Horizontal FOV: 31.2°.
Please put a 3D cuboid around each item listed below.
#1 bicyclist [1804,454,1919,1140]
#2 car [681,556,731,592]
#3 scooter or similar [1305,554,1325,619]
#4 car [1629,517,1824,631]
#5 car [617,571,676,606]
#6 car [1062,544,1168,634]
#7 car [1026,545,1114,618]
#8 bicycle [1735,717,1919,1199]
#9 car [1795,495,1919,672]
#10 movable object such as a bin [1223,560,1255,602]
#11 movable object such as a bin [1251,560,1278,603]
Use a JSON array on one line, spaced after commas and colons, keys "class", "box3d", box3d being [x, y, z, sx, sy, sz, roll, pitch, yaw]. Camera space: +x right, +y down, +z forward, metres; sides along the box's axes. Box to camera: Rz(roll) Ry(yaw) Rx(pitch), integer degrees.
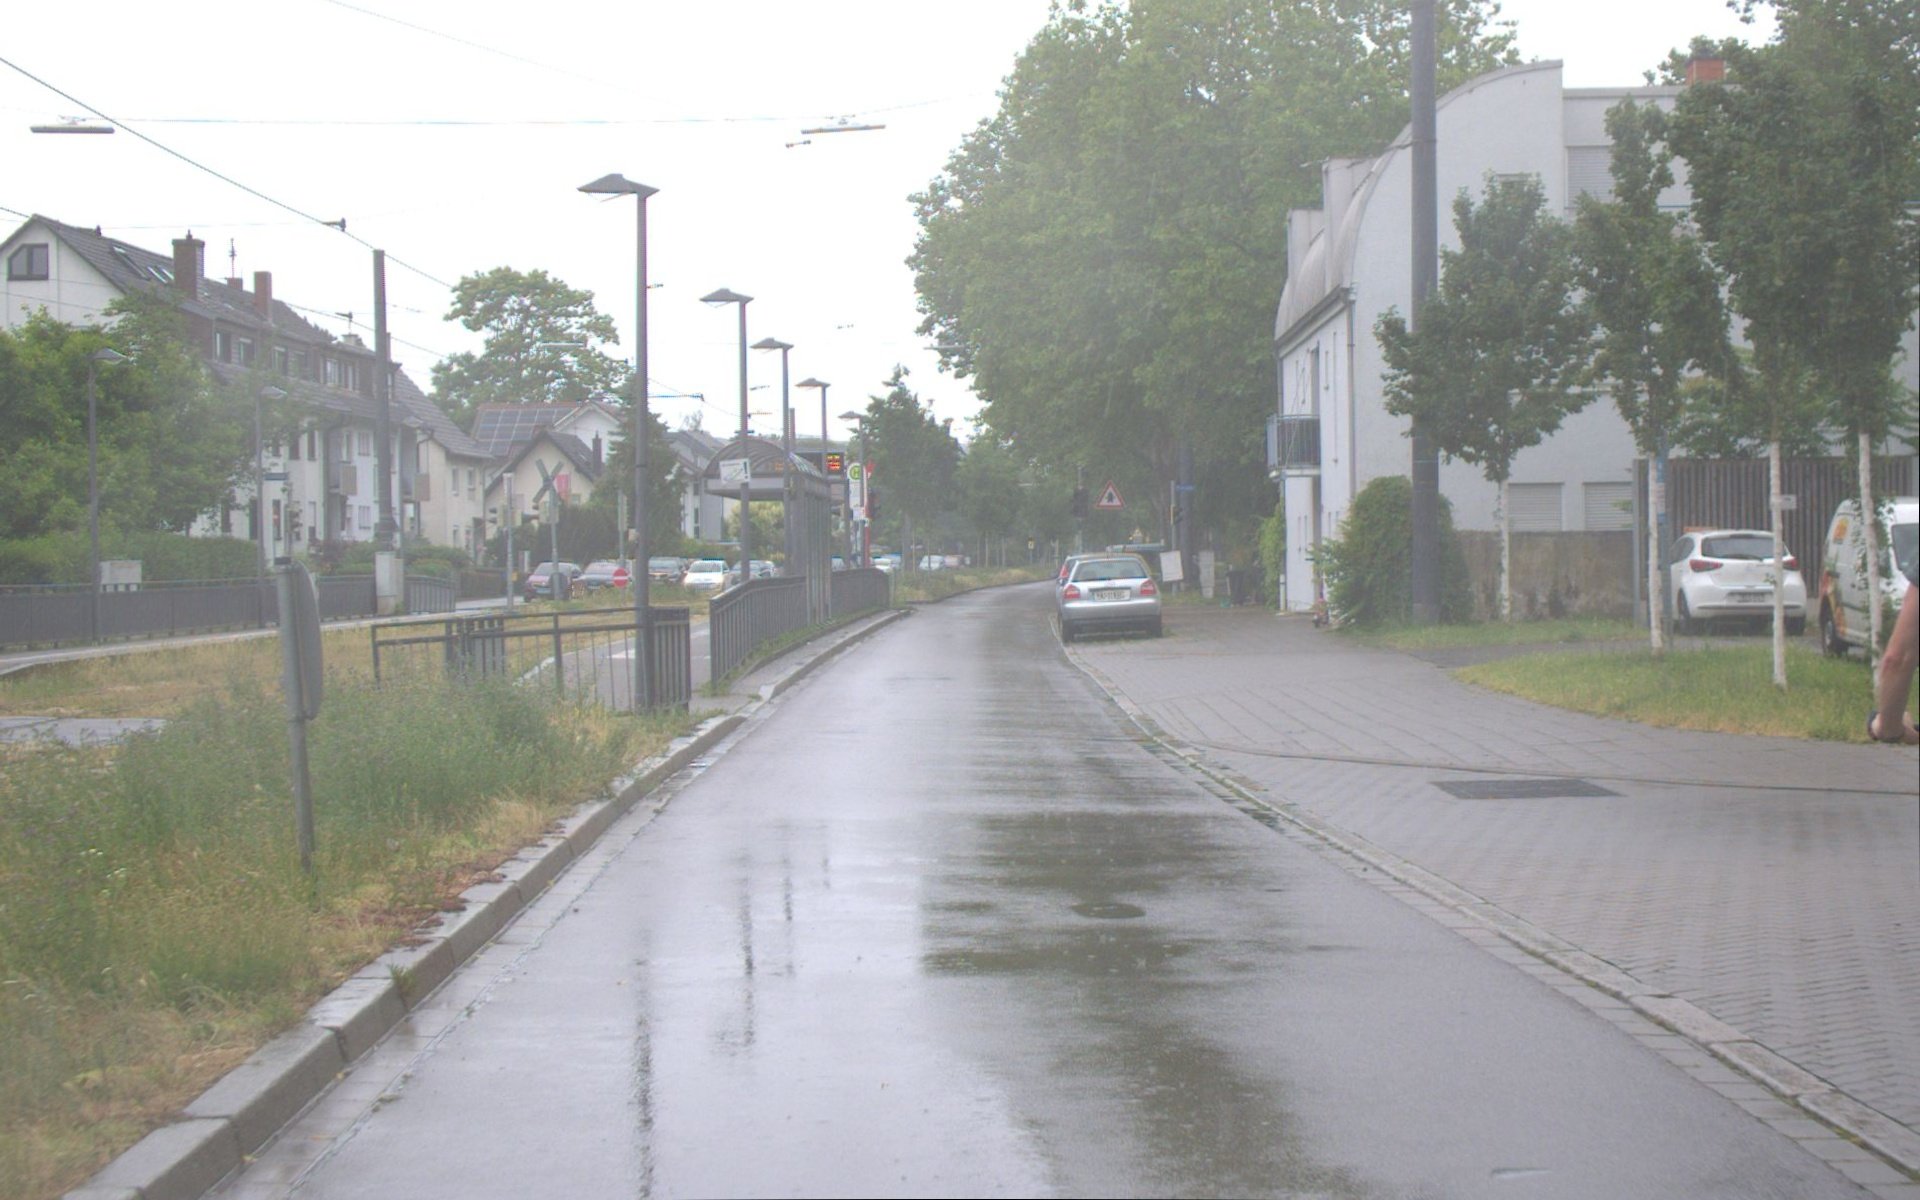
[{"class": "bicyclist", "box3d": [2.404, 0.447, 8.148, 0.534, 1.554, 0.773, 0, 0, -7]}, {"class": "car", "box3d": [-10.587, -1.081, 143.344, 1.633, 1.488, 4.000, 0, 0, 2]}, {"class": "scooter or similar", "box3d": [6.044, -0.225, 58.478, 0.333, 1.081, 1.395, 0, 0, 6]}, {"class": "car", "box3d": [10.872, -0.409, 49.067, 1.963, 1.529, 4.363, 0, 1, 2]}, {"class": "car", "box3d": [-13.629, -0.500, 149.486, 1.929, 1.481, 3.999, 0, 0, 4]}, {"class": "car", "box3d": [2.664, -0.182, 59.702, 1.650, 1.400, 4.649, -4, 0, 1]}, {"class": "car", "box3d": [2.408, -0.403, 75.802, 1.807, 1.462, 3.794, -4, 0, 1]}, {"class": "bicycle", "box3d": [2.418, 0.857, 8.113, 0.536, 1.089, 1.949, 0, 0, -6]}, {"class": "car", "box3d": [10.431, -0.222, 36.788, 1.963, 1.778, 4.897, 0, 1, 2]}, {"class": "movable object such as a bin", "box3d": [6.899, -0.471, 85.092, 0.692, 1.018, 0.824, -3, 0, 1]}, {"class": "movable object such as a bin", "box3d": [7.475, -0.462, 84.371, 0.536, 1.018, 0.739, -3, 0, 1]}]
